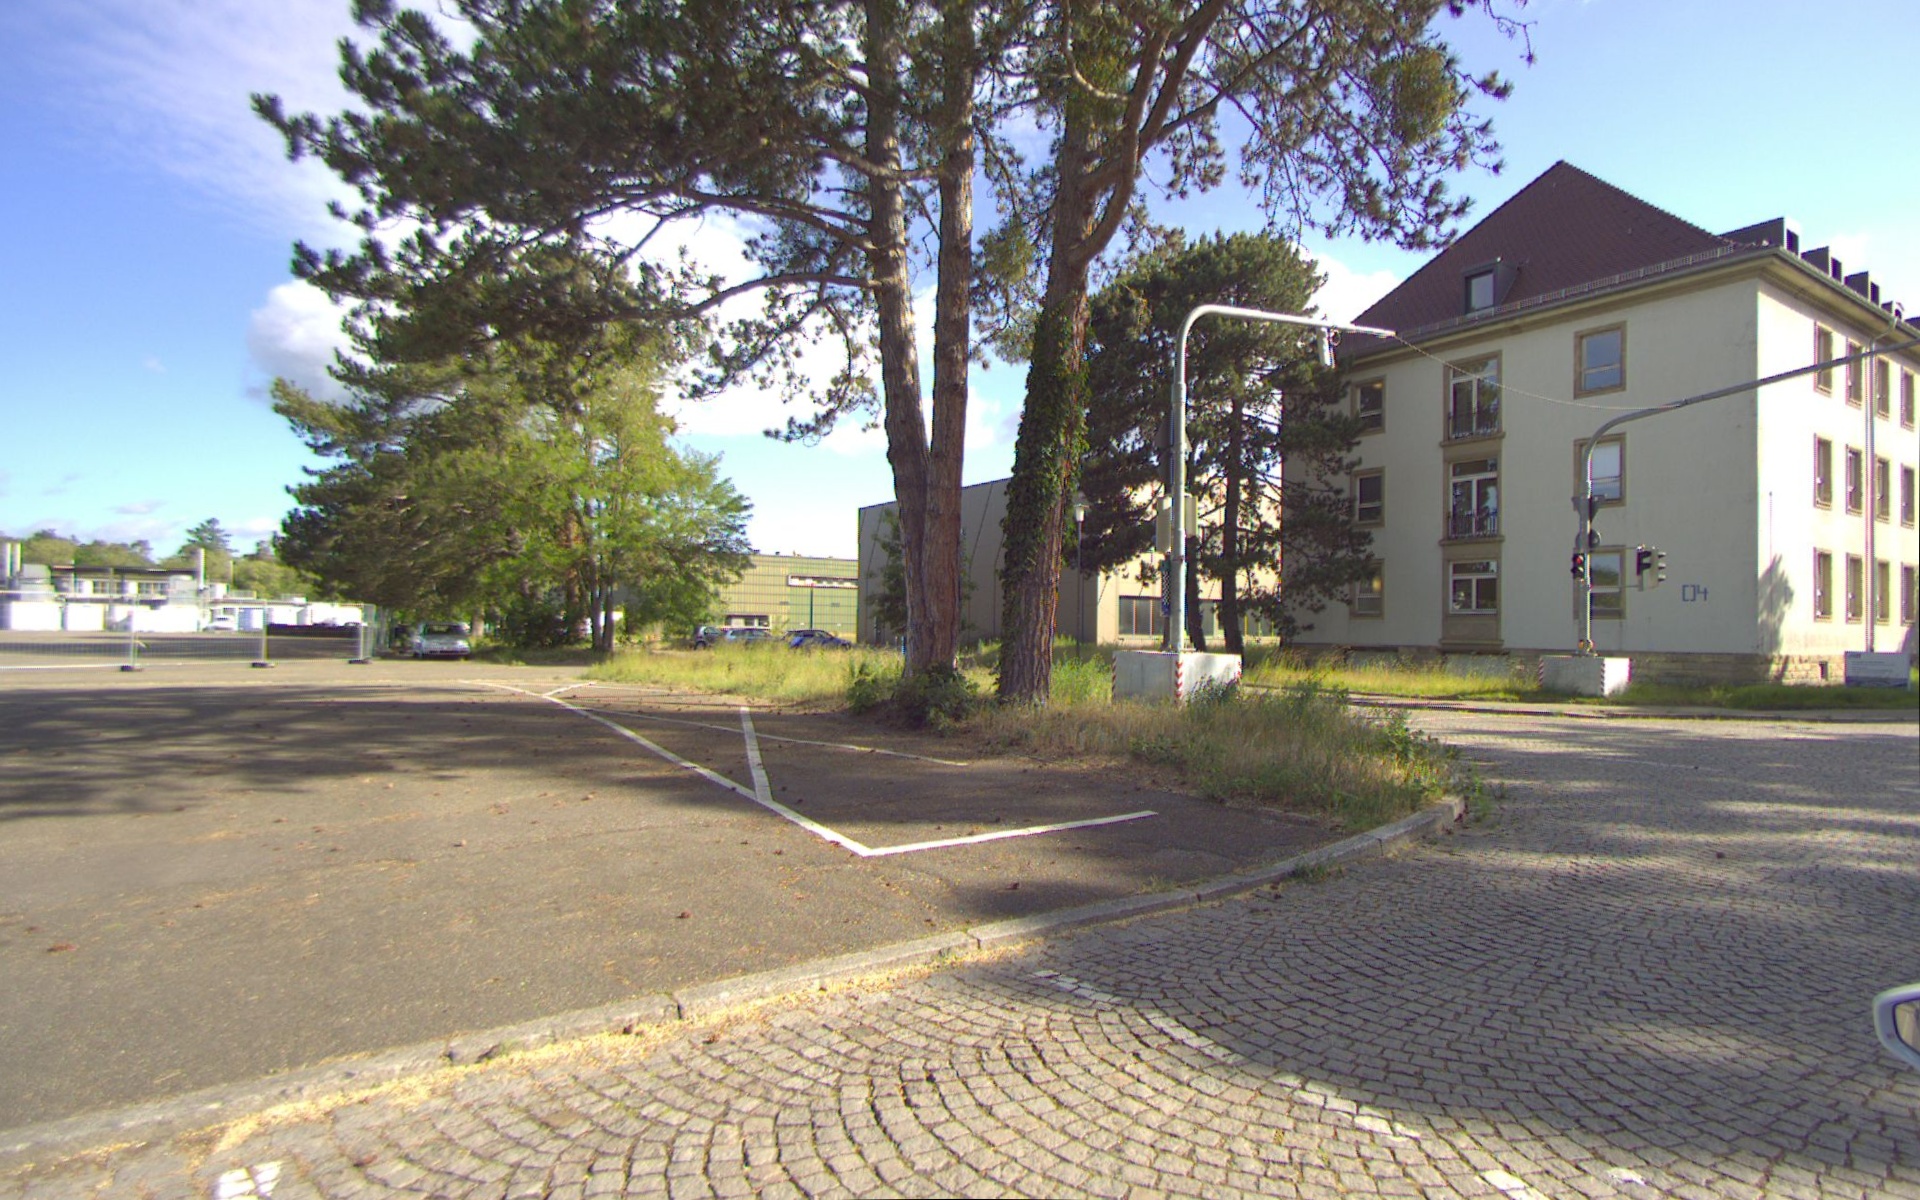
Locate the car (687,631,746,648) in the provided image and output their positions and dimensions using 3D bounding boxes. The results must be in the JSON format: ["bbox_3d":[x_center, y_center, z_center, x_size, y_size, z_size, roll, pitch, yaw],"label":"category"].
[{"bbox_3d":[-16.351,2.675,67.501,3.637,1.090,1.398,2,-2,-31],"label":"car"}]

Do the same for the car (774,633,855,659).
[{"bbox_3d":[-7.741,2.426,53.392,4.005,1.311,1.479,2,-2,-32],"label":"car"}]

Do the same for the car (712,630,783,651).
[{"bbox_3d":[-12.921,2.483,61.118,3.953,1.221,1.480,2,-2,-31],"label":"car"}]

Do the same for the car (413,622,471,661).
[{"bbox_3d":[-20.013,1.573,38.743,1.727,1.388,3.592,2,-2,-31],"label":"car"}]
